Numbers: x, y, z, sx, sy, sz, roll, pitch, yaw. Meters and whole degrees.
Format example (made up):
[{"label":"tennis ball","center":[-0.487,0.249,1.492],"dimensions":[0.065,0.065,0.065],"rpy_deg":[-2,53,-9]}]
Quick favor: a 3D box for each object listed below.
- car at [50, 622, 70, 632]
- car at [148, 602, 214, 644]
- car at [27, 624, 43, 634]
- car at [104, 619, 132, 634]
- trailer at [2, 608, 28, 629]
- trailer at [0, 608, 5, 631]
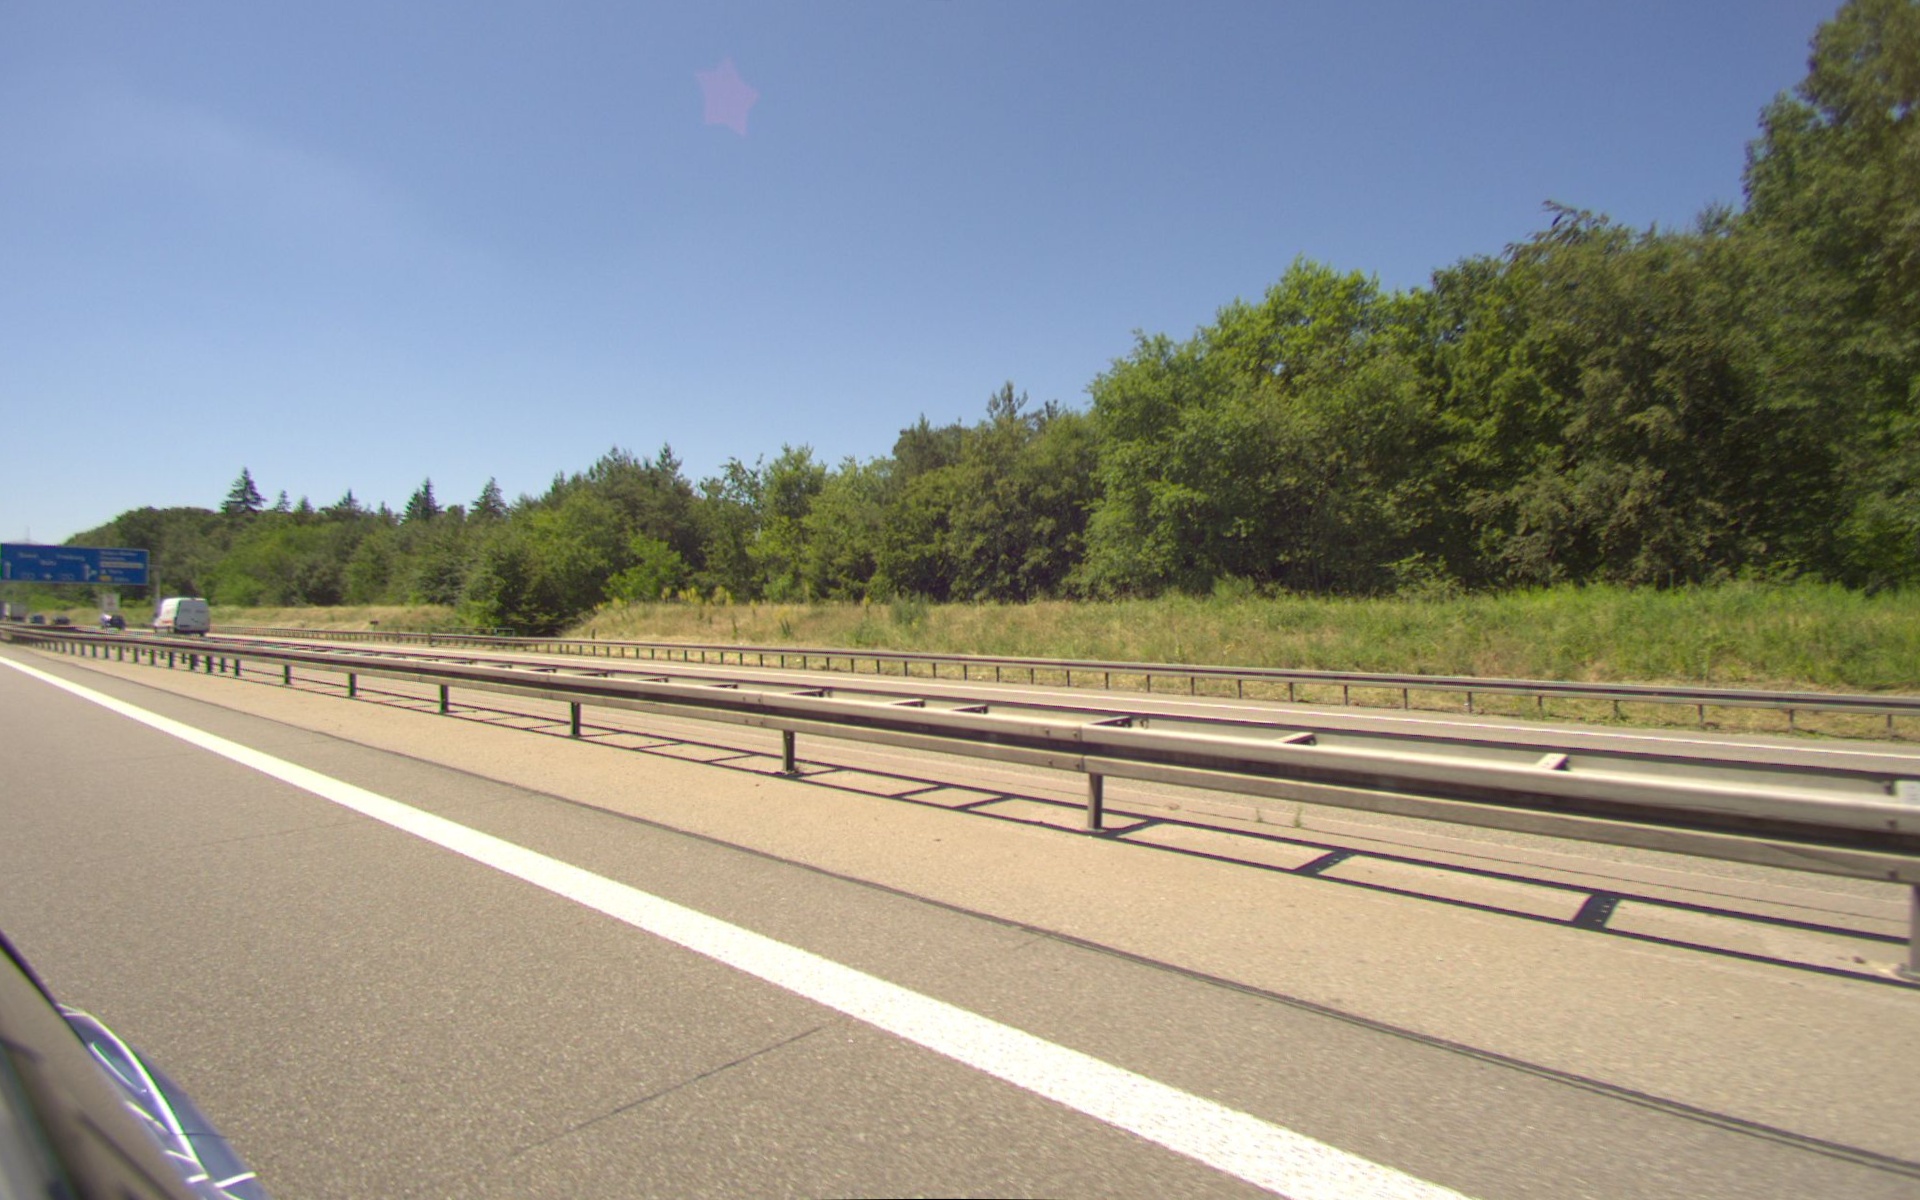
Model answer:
[{"label":"car","center":[-130.288,3.842,146.467],"dimensions":[4.889,1.376,1.657],"rpy_deg":[-1,-4,43]},{"label":"car","center":[-52.597,1.568,68.287],"dimensions":[7.543,2.645,2.142],"rpy_deg":[-1,-4,43]},{"label":"car","center":[-150.905,4.793,165.135],"dimensions":[4.110,1.552,1.507],"rpy_deg":[-1,-4,43]},{"label":"car","center":[-93.133,2.964,111.899],"dimensions":[4.535,1.557,1.683],"rpy_deg":[-1,-4,43]},{"label":"trailer","center":[-185.079,3.620,198.131],"dimensions":[11.156,3.979,2.596],"rpy_deg":[-1,-4,43]},{"label":"trailer","center":[-174.594,3.528,182.351],"dimensions":[14.278,4.104,2.437],"rpy_deg":[-1,-4,43]}]
